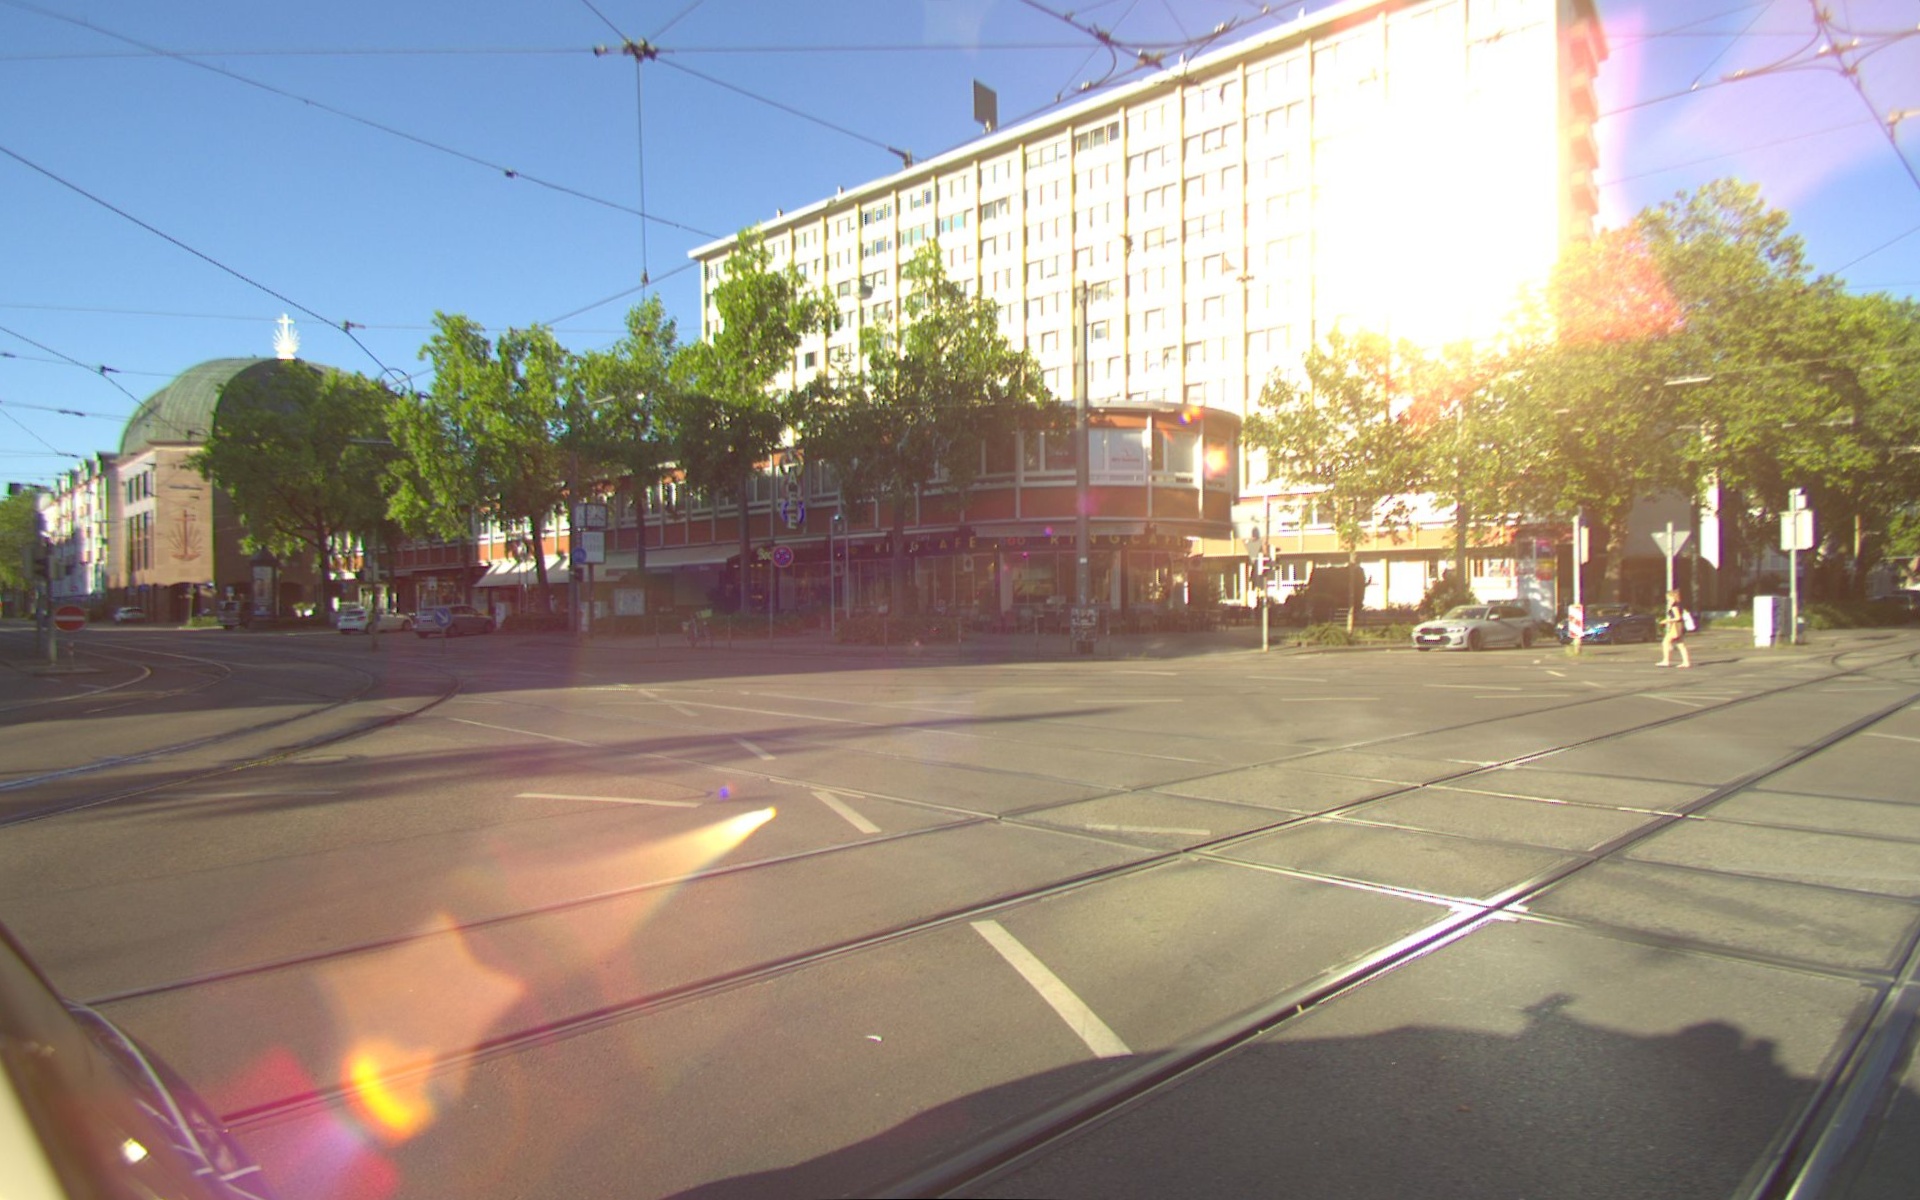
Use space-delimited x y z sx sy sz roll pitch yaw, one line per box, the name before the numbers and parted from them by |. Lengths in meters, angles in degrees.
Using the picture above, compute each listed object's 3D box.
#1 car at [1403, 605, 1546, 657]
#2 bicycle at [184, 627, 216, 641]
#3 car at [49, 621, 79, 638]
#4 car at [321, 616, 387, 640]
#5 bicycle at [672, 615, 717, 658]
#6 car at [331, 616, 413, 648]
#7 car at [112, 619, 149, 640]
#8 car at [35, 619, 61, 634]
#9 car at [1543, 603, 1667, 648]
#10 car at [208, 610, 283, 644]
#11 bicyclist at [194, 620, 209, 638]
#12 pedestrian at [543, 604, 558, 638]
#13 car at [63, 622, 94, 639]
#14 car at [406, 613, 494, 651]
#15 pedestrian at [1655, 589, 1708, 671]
car | 15.925 0.902 31.282 4.380 1.432 1.897 0 1 -31
bicycle | -62.574 2.816 83.374 2.004 1.100 0.675 0 1 -16
car | -101.807 3.330 115.016 3.997 1.615 1.940 1 3 40
car | -56.087 2.559 93.738 1.999 2.029 4.920 1 2 40
bicycle | -8.432 1.135 32.097 0.574 1.244 1.859 -3 3 -42
car | -32.964 1.786 56.862 1.778 1.486 3.987 0 2 11
car | -76.446 2.691 93.261 3.997 1.615 1.886 1 3 40
car | -115.266 3.385 127.882 3.997 1.615 1.940 1 3 40
car | 22.585 0.836 35.412 4.380 1.432 1.897 0 1 -31
car | -48.099 1.787 68.208 1.889 1.978 3.992 0 2 7
bicyclist | -62.486 2.379 83.394 0.751 1.433 0.675 0 1 -16
pedestrian | -22.038 1.124 54.469 0.626 1.782 0.771 -1 2 -32
car | -96.853 3.366 111.177 3.997 1.615 1.940 1 3 40
car | -24.955 1.517 49.665 1.778 1.565 3.987 0 2 11
pedestrian | 15.298 0.626 21.452 0.857 1.695 0.698 0 -1 -39
